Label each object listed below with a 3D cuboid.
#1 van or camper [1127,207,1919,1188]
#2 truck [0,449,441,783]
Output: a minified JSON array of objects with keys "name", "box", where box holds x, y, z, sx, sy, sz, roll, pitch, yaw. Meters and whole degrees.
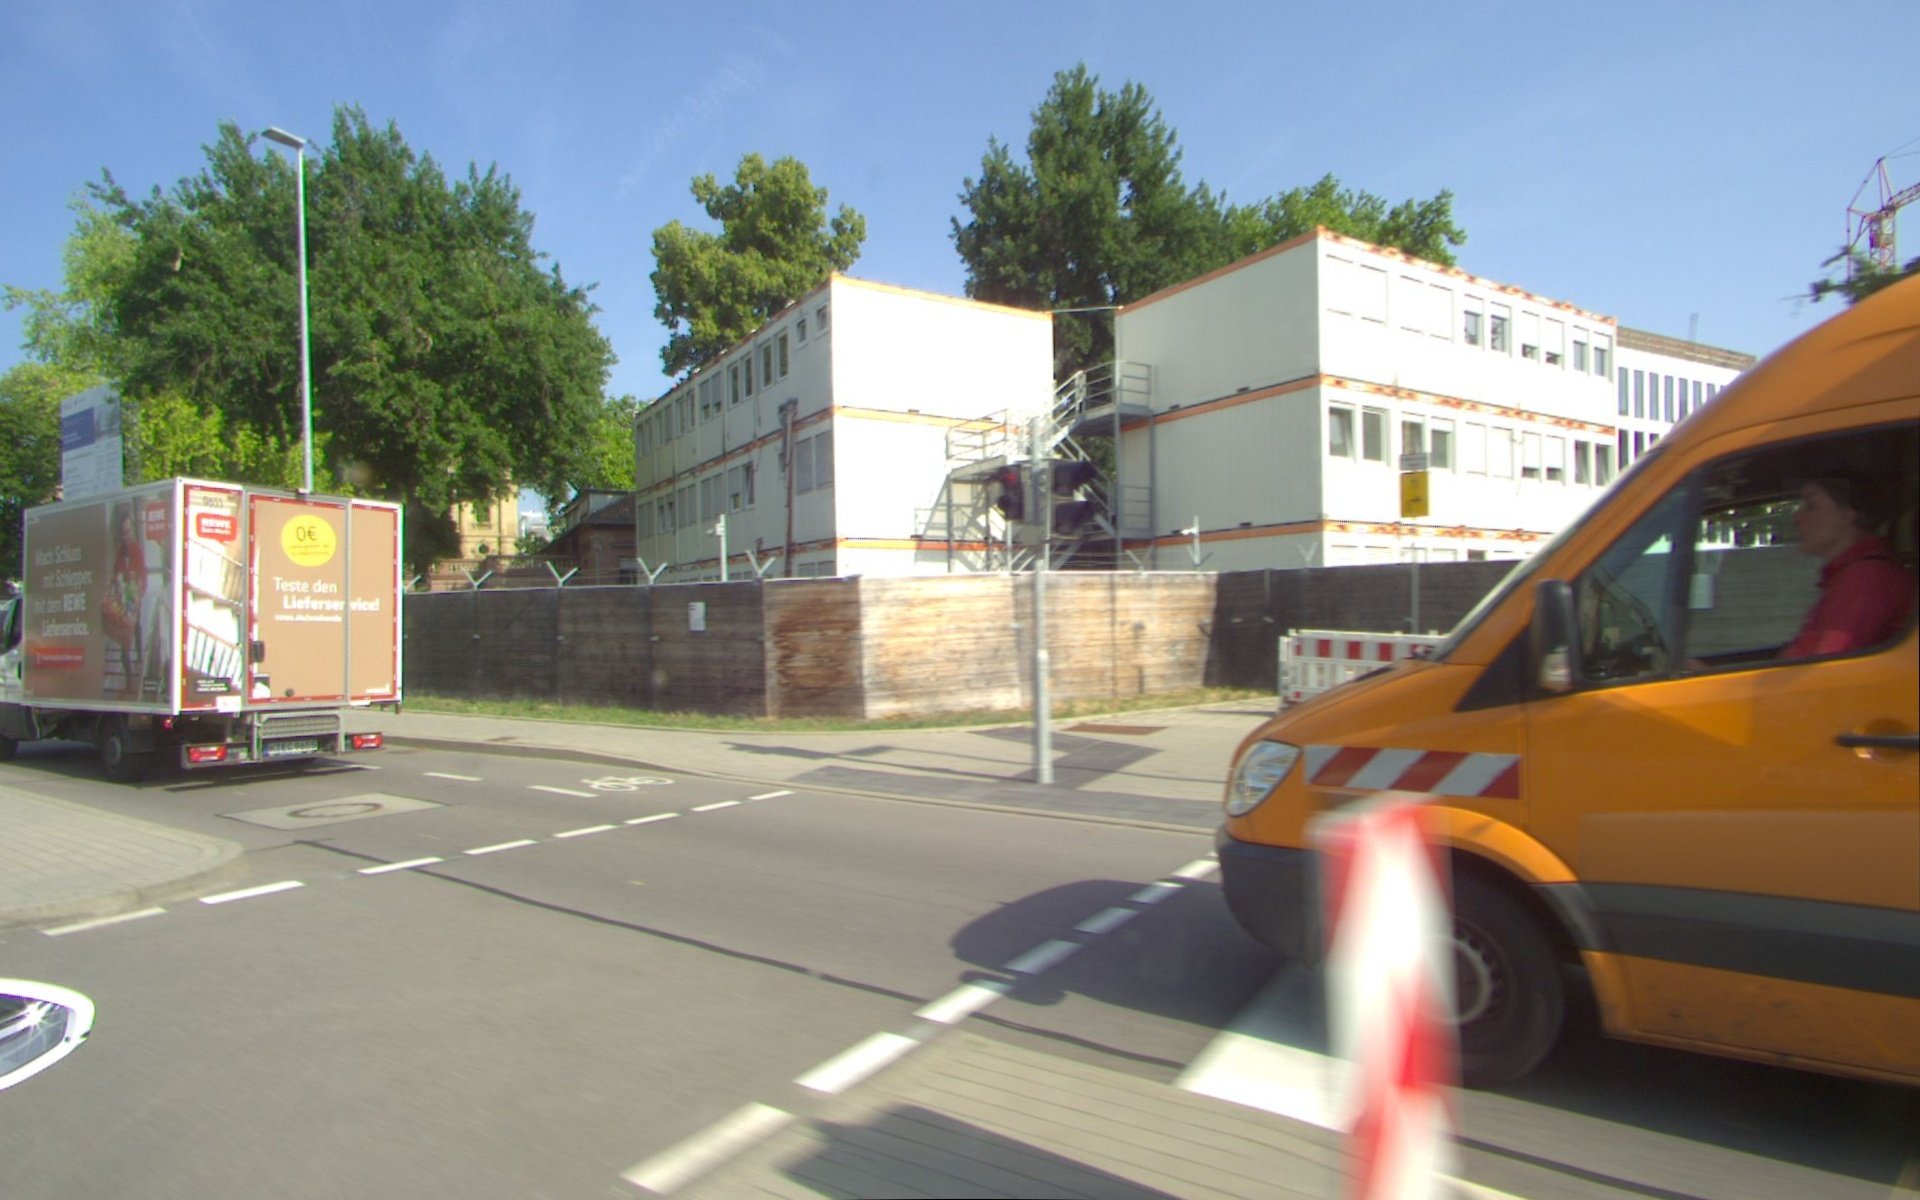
[{"name":"van or camper","box":[3.641,0.252,2.923,5.981,2.503,1.981,-1,-2,35]},{"name":"truck","box":[-9.880,0.328,12.352,7.707,3.098,2.500,-2,-3,31]}]
